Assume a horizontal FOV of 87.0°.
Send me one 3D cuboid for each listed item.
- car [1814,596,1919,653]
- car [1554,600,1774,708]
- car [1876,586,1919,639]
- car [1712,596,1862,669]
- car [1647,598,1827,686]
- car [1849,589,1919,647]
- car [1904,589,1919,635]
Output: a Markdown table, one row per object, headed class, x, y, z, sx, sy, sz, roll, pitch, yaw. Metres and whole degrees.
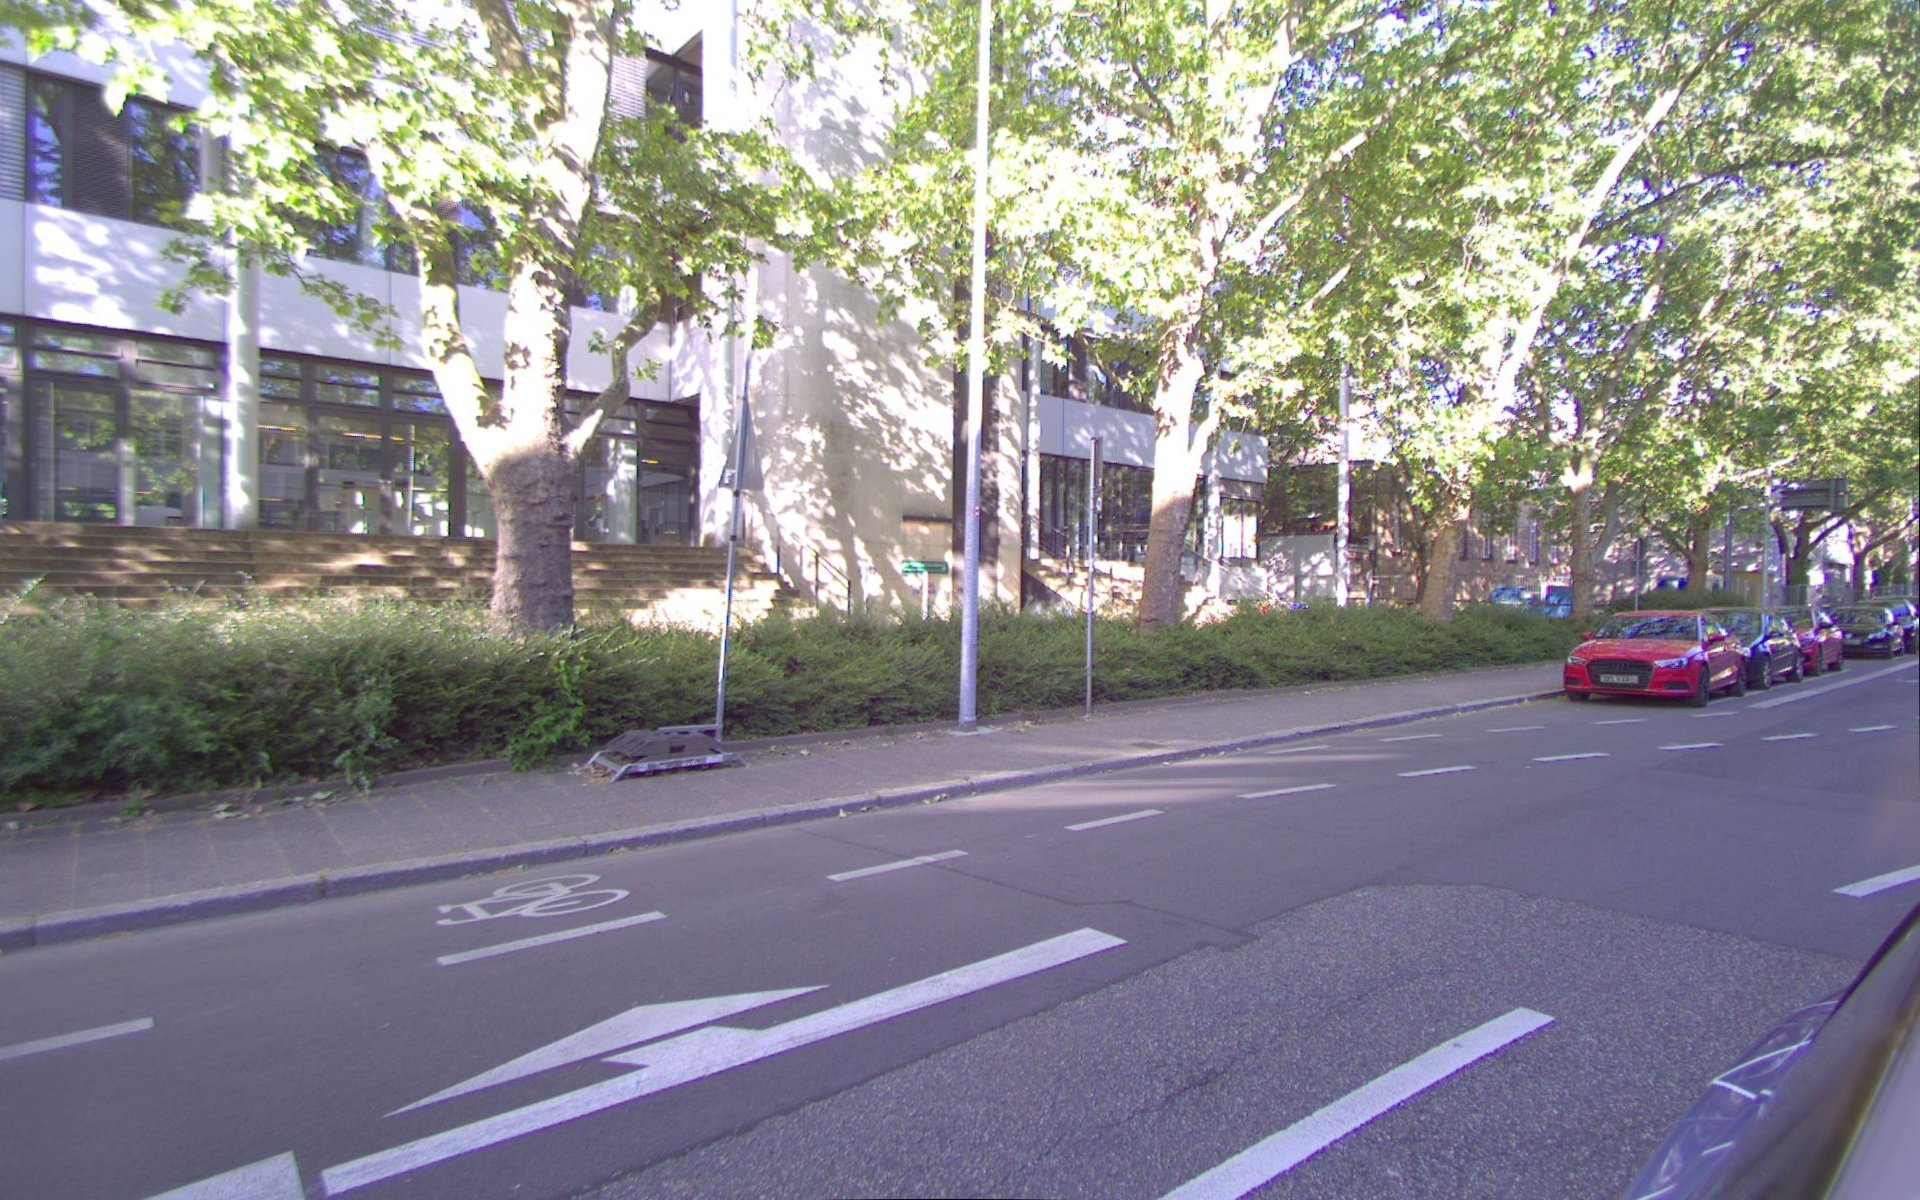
| class | x | y | z | sx | sy | sz | roll | pitch | yaw |
| --- | --- | --- | --- | --- | --- | --- | --- | --- | --- |
| car | 25.786 | 0.627 | 28.618 | 4.403 | 1.469 | 1.865 | 0 | 0 | -41 |
| car | 11.315 | 0.743 | 16.146 | 4.403 | 1.469 | 1.865 | 0 | 0 | -41 |
| car | 33.903 | 0.401 | 35.704 | 4.403 | 1.781 | 1.865 | 0 | 0 | -41 |
| car | 18.430 | 0.642 | 22.484 | 4.403 | 1.469 | 1.865 | 0 | 0 | -41 |
| car | 14.762 | 0.697 | 19.146 | 4.403 | 1.469 | 1.865 | 0 | 0 | -41 |
| car | 29.565 | 0.520 | 31.813 | 4.403 | 1.689 | 1.865 | 0 | 0 | -41 |
| car | 38.869 | 0.451 | 39.974 | 4.403 | 1.781 | 1.865 | 0 | 0 | -41 |
